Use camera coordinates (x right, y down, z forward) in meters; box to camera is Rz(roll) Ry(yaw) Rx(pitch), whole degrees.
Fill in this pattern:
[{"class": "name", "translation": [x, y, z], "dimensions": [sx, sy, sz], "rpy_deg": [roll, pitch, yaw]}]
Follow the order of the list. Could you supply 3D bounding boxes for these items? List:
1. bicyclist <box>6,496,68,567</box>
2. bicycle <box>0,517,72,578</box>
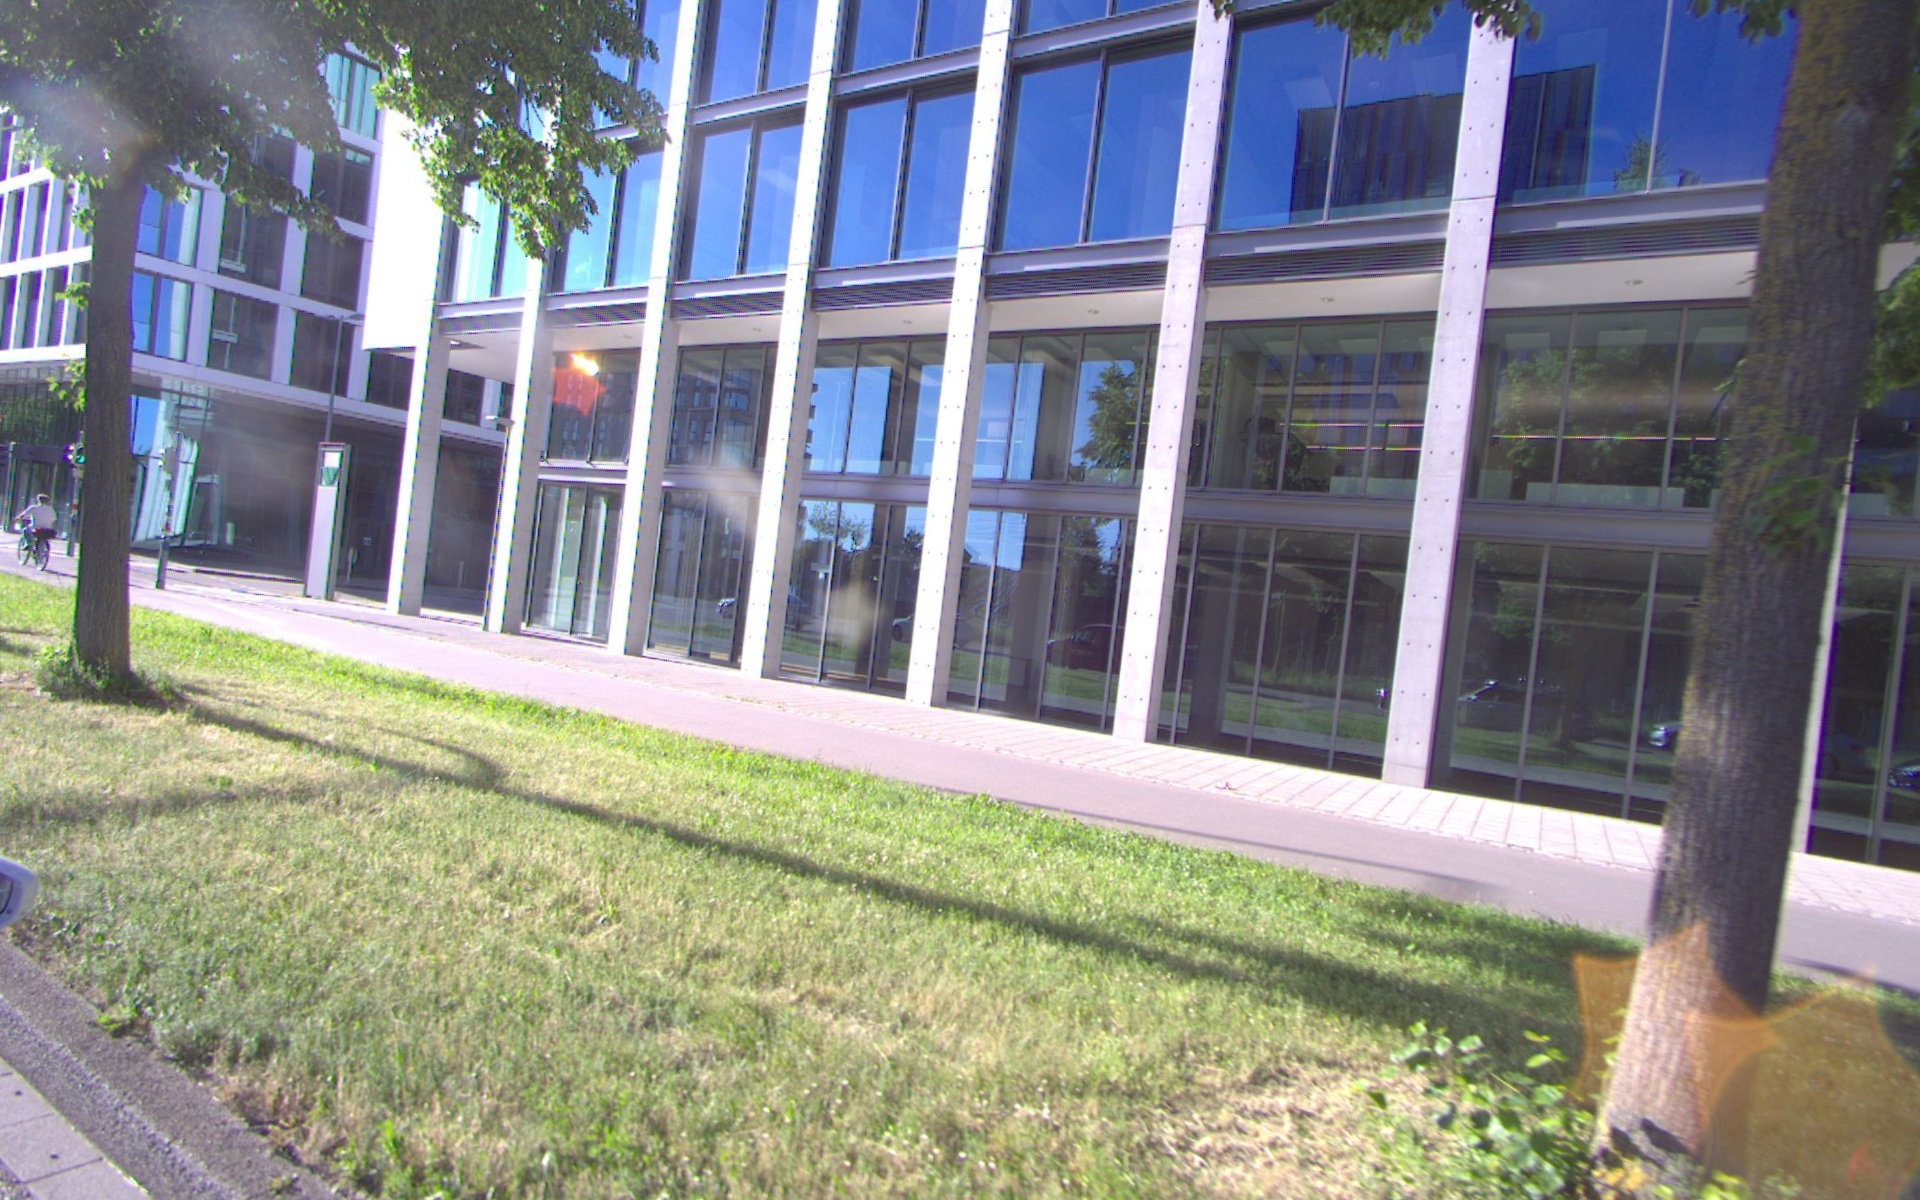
[{"class": "bicyclist", "translation": [-21.783, -1.612, 23.736], "dimensions": [0.835, 1.550, 0.772], "rpy_deg": [7, 0, 31]}, {"class": "bicycle", "translation": [-21.946, -1.258, 23.833], "dimensions": [1.928, 1.188, 0.742], "rpy_deg": [8, 0, 31]}]
